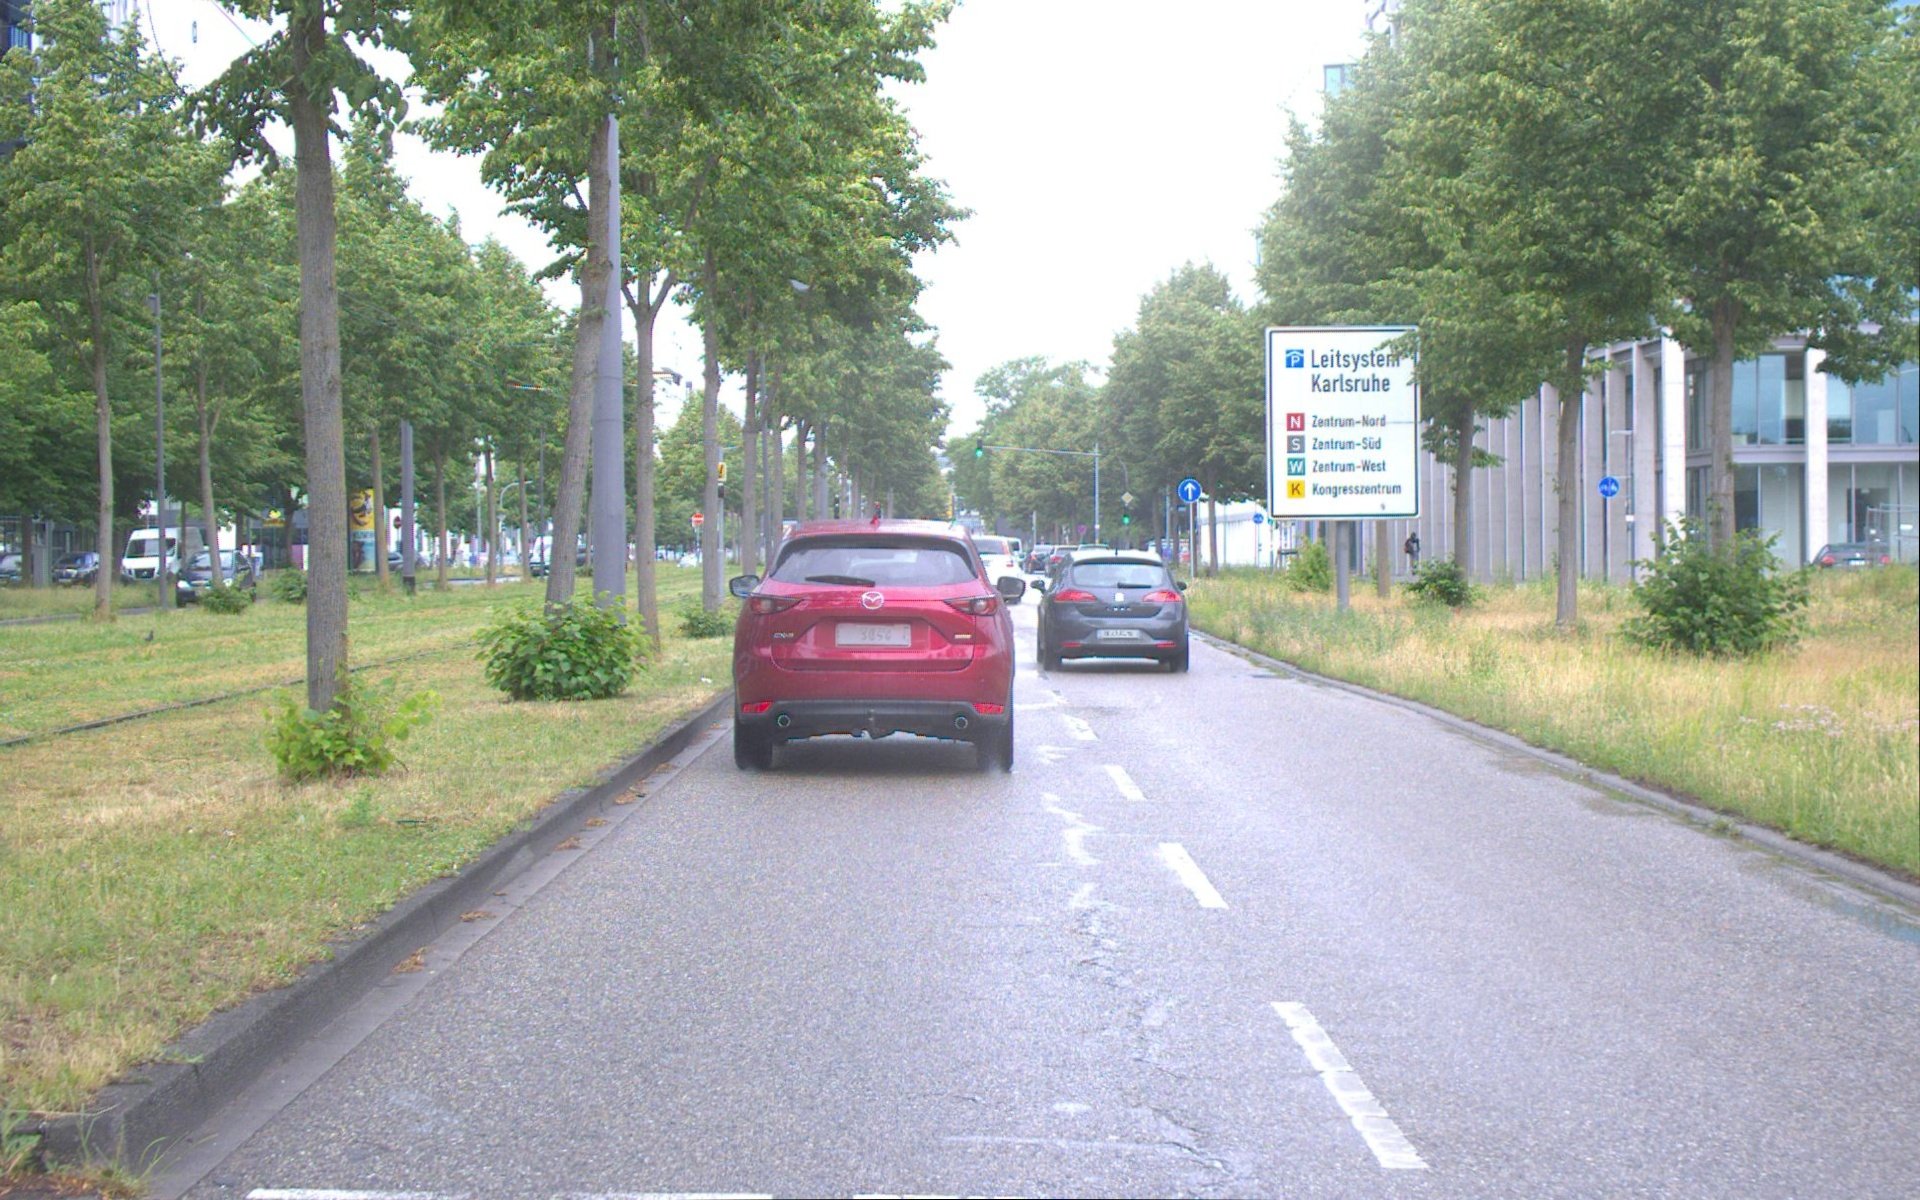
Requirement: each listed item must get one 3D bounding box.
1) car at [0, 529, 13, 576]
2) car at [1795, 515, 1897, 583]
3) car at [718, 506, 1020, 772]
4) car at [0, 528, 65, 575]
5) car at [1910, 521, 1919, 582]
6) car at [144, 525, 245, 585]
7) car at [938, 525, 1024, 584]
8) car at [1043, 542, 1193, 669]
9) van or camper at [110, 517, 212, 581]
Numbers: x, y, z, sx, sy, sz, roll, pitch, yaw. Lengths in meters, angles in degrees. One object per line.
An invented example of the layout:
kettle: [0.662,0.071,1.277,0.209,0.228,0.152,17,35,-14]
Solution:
car: [-29.141,-1.384,100.205,1.993,1.373,4.000,0,1,0]
car: [21.028,-1.214,81.710,1.855,1.575,3.999,0,1,7]
car: [-0.606,0.208,23.649,1.898,1.671,4.000,0,1,-1]
car: [-29.200,-1.517,106.788,1.702,1.444,4.242,0,1,0]
car: [23.800,-1.140,81.151,1.855,1.450,4.556,0,1,5]
car: [-21.452,-1.270,96.433,1.993,1.651,3.700,0,1,0]
car: [0.491,-1.152,85.367,1.967,1.432,4.553,0,1,-2]
car: [1.962,0.031,42.069,1.744,1.460,3.781,0,1,3]
van or camper: [-29.424,-1.907,126.815,2.433,2.307,5.850,0,1,0]
